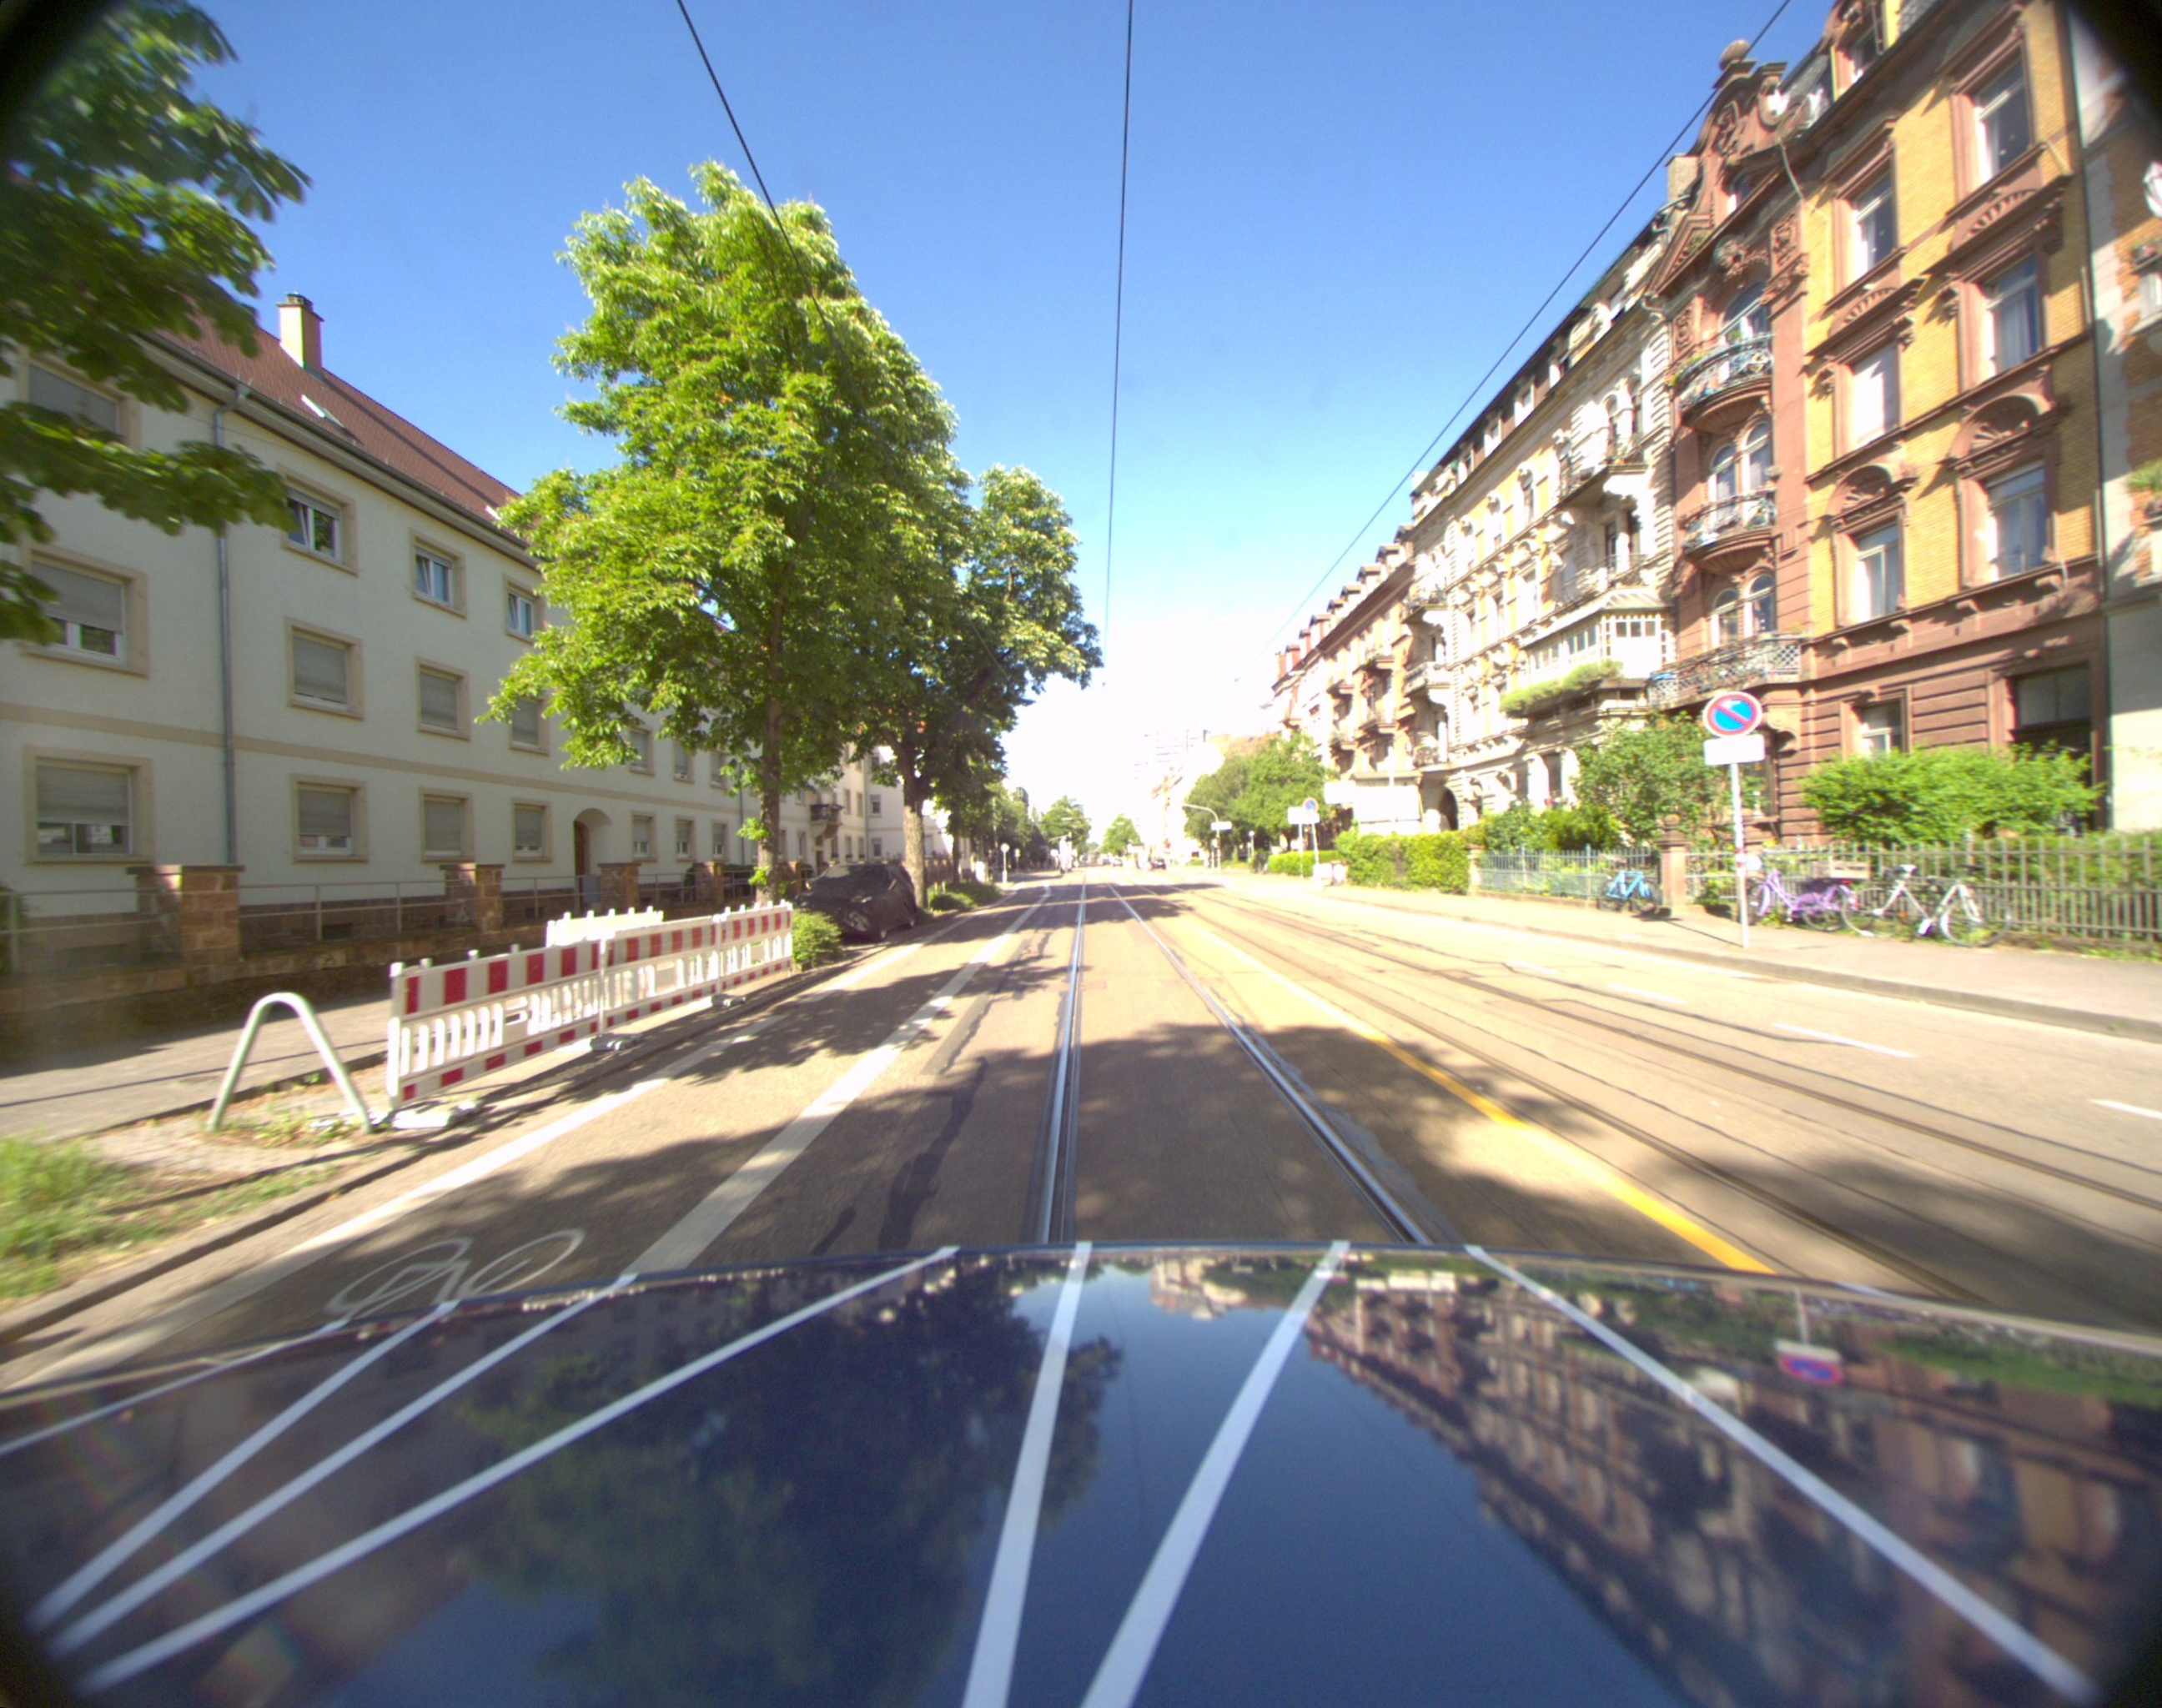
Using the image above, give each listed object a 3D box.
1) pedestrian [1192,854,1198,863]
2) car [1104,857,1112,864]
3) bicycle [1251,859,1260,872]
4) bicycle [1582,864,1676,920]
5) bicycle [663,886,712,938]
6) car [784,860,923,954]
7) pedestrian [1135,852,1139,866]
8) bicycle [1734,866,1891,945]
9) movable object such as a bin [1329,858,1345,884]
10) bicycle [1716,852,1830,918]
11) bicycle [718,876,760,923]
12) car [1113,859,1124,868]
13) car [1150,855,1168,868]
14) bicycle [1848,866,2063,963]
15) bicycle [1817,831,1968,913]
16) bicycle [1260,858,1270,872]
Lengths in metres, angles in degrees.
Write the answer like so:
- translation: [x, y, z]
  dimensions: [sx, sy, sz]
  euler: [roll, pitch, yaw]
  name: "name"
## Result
- translation: [16.233, 0.627, 108.191]
  dimensions: [0.659, 1.274, 0.724]
  euler: [-3, 0, 1]
  name: "pedestrian"
- translation: [6.788, 1.663, 192.375]
  dimensions: [1.694, 1.531, 3.799]
  euler: [-3, 0, 4]
  name: "car"
- translation: [12.825, 0.846, 55.920]
  dimensions: [0.342, 0.920, 1.943]
  euler: [-3, 0, 5]
  name: "bicycle"
- translation: [10.927, 0.740, 15.232]
  dimensions: [0.564, 1.027, 1.768]
  euler: [-4, -1, 1]
  name: "bicycle"
- translation: [-10.428, 1.517, 20.190]
  dimensions: [0.448, 1.231, 1.675]
  euler: [-1, 0, -1]
  name: "bicycle"
- translation: [-4.978, 1.066, 17.310]
  dimensions: [1.748, 1.755, 4.477]
  euler: [-3, 0, 0]
  name: "car"
- translation: [7.519, 0.644, 101.546]
  dimensions: [0.466, 1.774, 0.673]
  euler: [-2, 0, 0]
  name: "pedestrian"
- translation: [10.730, 0.717, 11.244]
  dimensions: [0.564, 1.027, 1.767]
  euler: [-4, 0, 0]
  name: "bicycle"
- translation: [11.012, 0.714, 32.718]
  dimensions: [0.480, 1.079, 0.541]
  euler: [-3, 0, 2]
  name: "movable object such as a bin"
- translation: [12.618, 0.557, 13.875]
  dimensions: [1.578, 1.027, 0.479]
  euler: [-5, 0, 0]
  name: "bicycle"
- translation: [-9.798, 1.278, 21.842]
  dimensions: [0.448, 1.231, 1.675]
  euler: [-1, 0, -1]
  name: "bicycle"
- translation: [7.611, 1.946, 154.960]
  dimensions: [1.902, 1.608, 4.264]
  euler: [0, 0, -1]
  name: "car"
- translation: [10.311, 0.942, 100.363]
  dimensions: [1.836, 1.509, 4.967]
  euler: [-4, 0, 1]
  name: "car"
- translation: [10.671, 0.695, 9.381]
  dimensions: [0.564, 1.027, 1.767]
  euler: [-4, 0, 0]
  name: "bicycle"
- translation: [13.186, 0.288, 12.370]
  dimensions: [1.766, 1.148, 0.565]
  euler: [-5, 0, 0]
  name: "bicycle"
- translation: [12.542, 0.764, 51.818]
  dimensions: [0.342, 0.920, 1.943]
  euler: [-3, 0, 5]
  name: "bicycle"
